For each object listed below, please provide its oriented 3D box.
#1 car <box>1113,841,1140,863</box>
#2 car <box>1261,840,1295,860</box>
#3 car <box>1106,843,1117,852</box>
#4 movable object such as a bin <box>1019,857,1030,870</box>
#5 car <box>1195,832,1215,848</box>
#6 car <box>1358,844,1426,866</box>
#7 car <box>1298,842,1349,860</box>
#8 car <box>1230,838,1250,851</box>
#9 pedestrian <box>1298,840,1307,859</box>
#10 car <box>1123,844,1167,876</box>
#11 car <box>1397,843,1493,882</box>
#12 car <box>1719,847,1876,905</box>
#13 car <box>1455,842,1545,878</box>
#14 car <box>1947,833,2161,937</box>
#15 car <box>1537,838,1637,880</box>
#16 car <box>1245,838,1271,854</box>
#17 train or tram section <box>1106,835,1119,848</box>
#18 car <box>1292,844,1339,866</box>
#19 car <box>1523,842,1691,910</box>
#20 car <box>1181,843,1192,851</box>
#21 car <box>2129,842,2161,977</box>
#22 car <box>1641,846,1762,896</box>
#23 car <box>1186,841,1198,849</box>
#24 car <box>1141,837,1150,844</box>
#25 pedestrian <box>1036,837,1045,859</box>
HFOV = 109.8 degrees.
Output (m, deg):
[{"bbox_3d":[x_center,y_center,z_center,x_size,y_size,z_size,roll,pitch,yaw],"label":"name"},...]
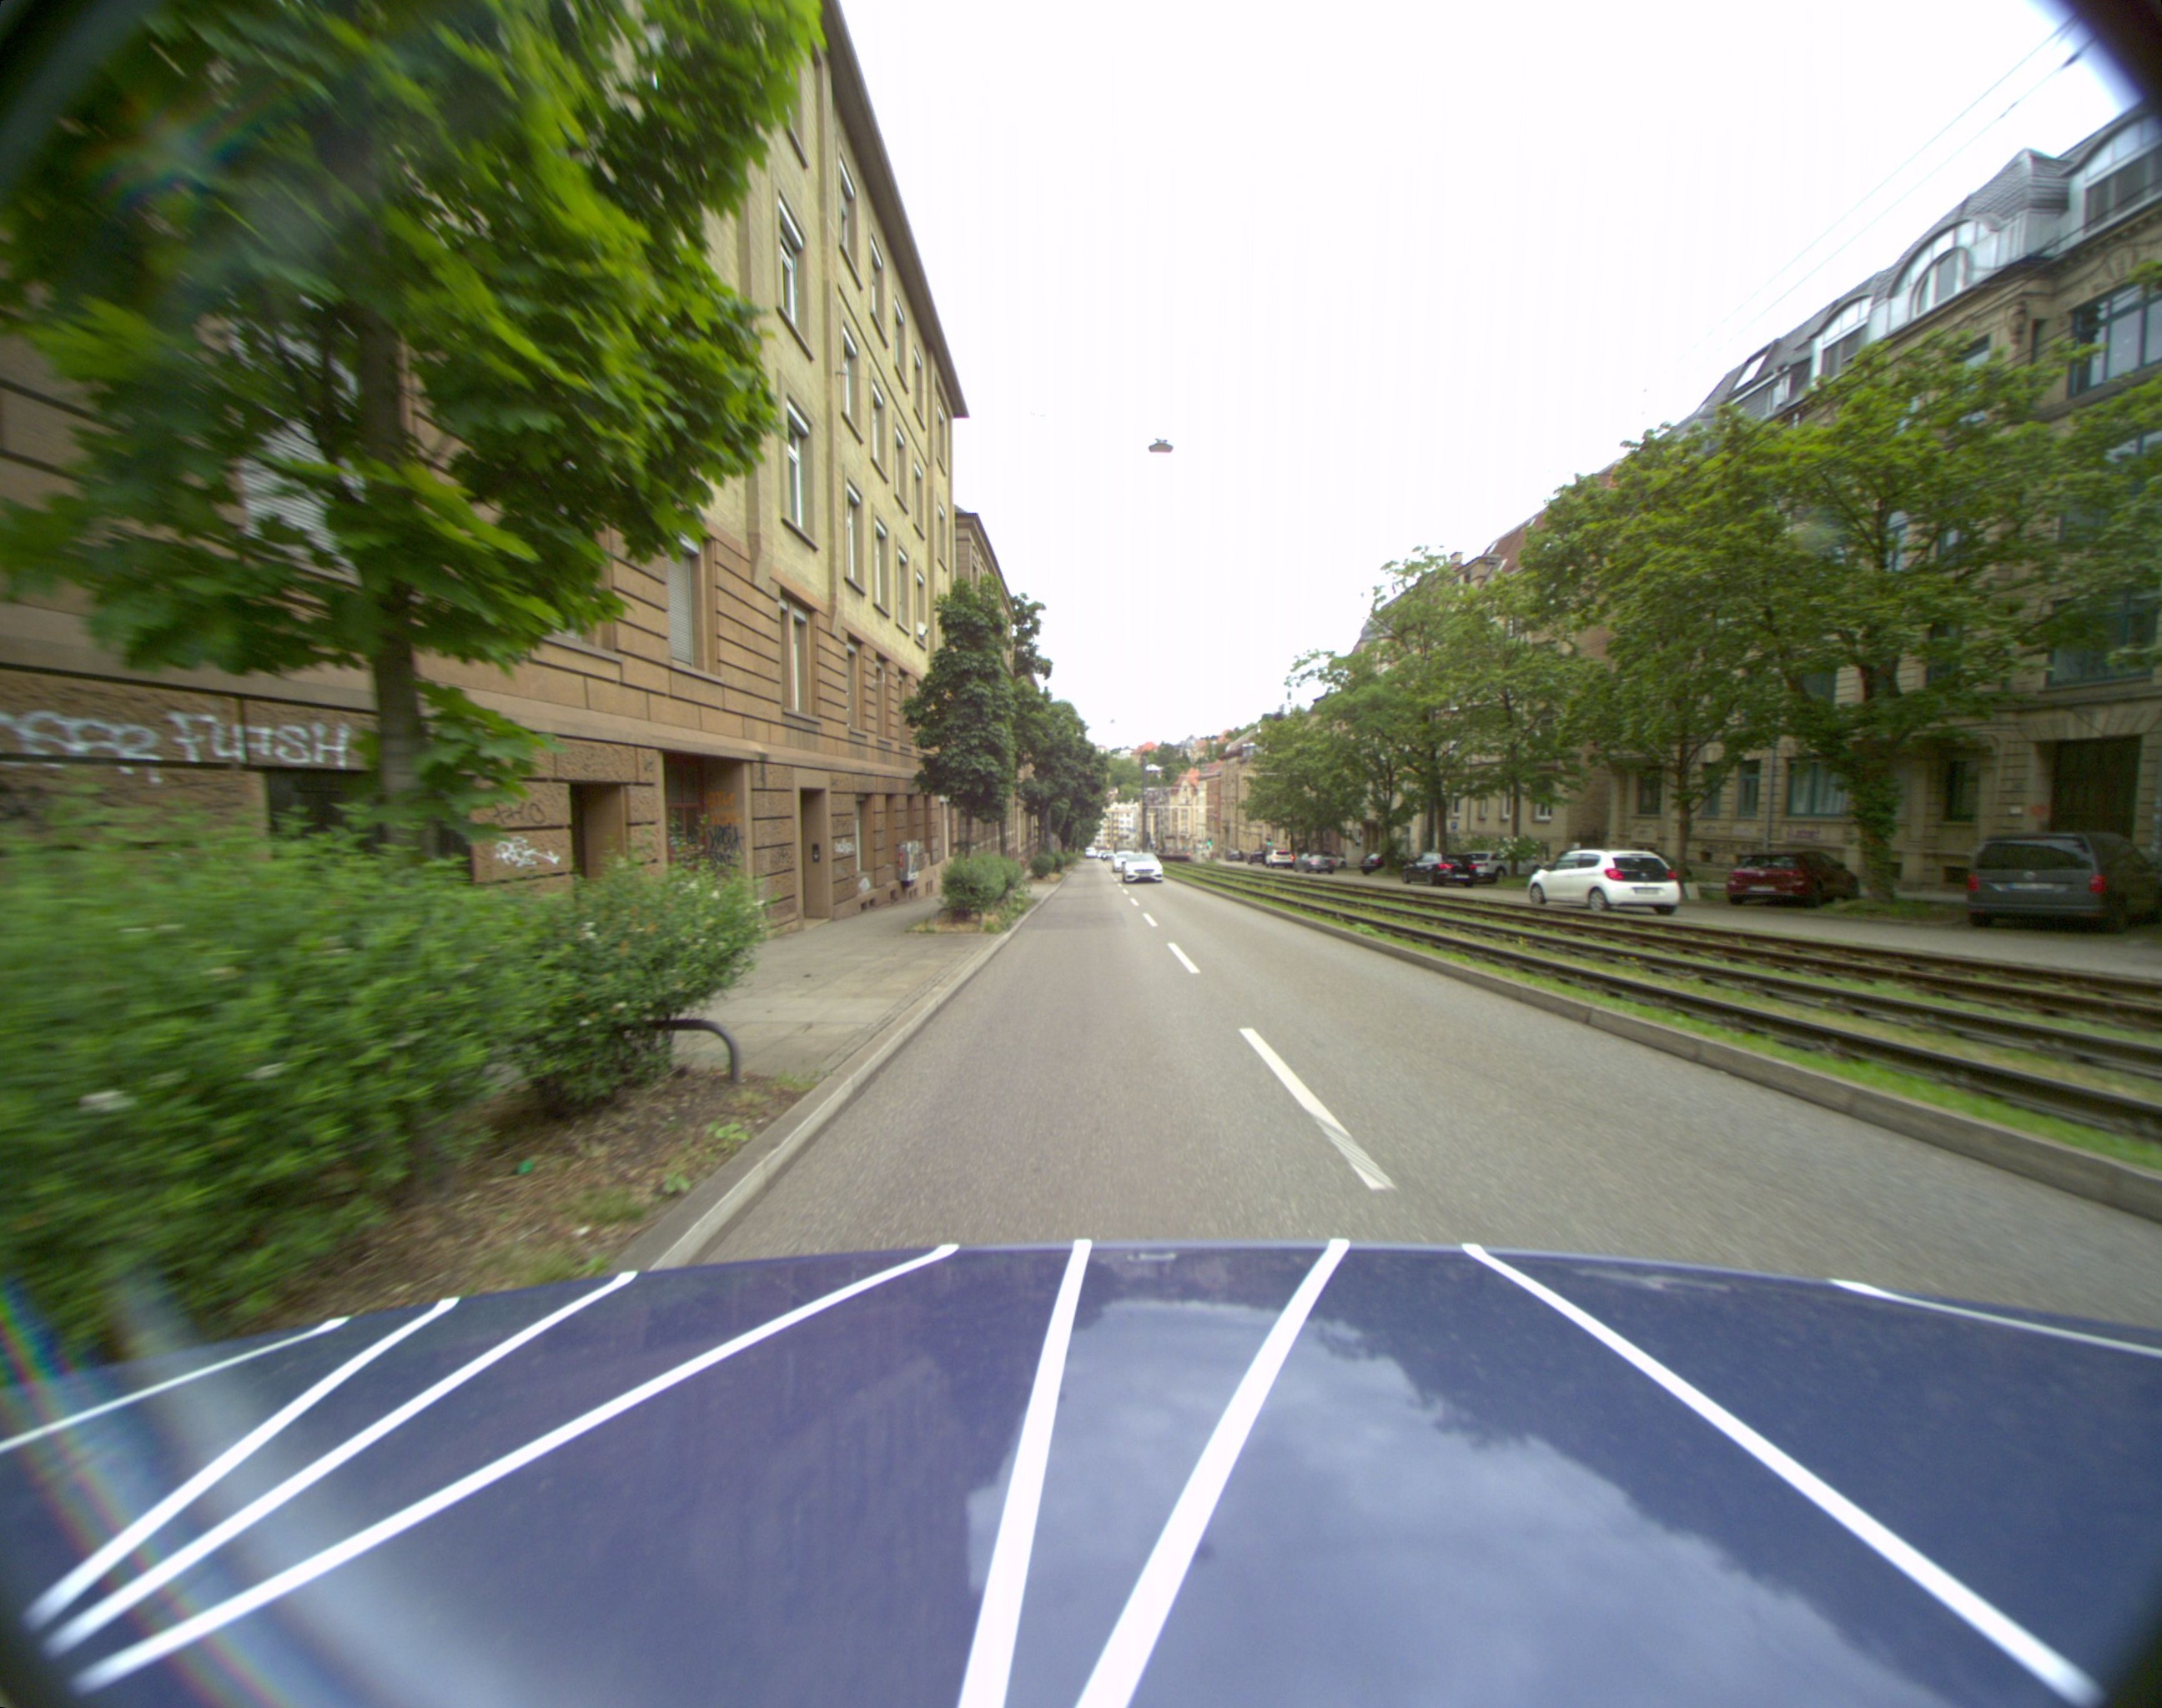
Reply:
[{"bbox_3d":[3.272,-0.153,55.367,1.806,1.542,4.000,-1,0,1],"label":"car"},{"bbox_3d":[16.564,-0.319,64.153,1.784,1.607,4.345,1,1,1],"label":"car"},{"bbox_3d":[4.412,-0.944,111.308,1.562,1.330,4.000,0,0,1],"label":"car"},{"bbox_3d":[-3.846,0.662,51.929,0.672,0.892,0.582,1,-1,-1],"label":"movable object such as a bin"},{"bbox_3d":[21.519,-2.457,132.155,2.398,2.684,6.518,1,1,2],"label":"car"},{"bbox_3d":[19.737,0.043,48.201,4.190,1.357,1.708,-1,1,-29],"label":"car"},{"bbox_3d":[19.771,-0.230,61.962,4.006,1.414,1.781,-1,1,-30],"label":"car"},{"bbox_3d":[20.938,-1.203,100.297,1.884,1.640,4.471,1,1,4],"label":"car"},{"bbox_3d":[23.471,-0.428,80.419,0.722,2.002,0.797,-1,0,-1],"label":"pedestrian"},{"bbox_3d":[3.073,0.278,36.968,1.806,1.391,4.000,-1,0,0],"label":"car"},{"bbox_3d":[15.154,0.308,31.941,1.870,1.427,4.493,2,1,0],"label":"car"},{"bbox_3d":[19.399,0.523,20.555,4.198,1.427,1.867,-1,1,-29],"label":"car"},{"bbox_3d":[19.182,0.217,34.754,4.161,1.461,1.781,-2,3,-31],"label":"car"},{"bbox_3d":[18.872,0.501,14.717,4.198,1.757,1.867,-1,1,-29],"label":"car"},{"bbox_3d":[20.064,0.157,30.084,4.199,1.564,1.866,-1,1,-35],"label":"car"},{"bbox_3d":[18.898,-0.866,81.331,1.784,1.647,4.242,1,1,1],"label":"car"},{"bbox_3d":[8.655,-3.331,211.208,2.968,3.456,14.407,0,0,-1],"label":"train or tram section"},{"bbox_3d":[15.641,0.042,50.894,1.729,1.402,4.597,1,1,1],"label":"car"},{"bbox_3d":[12.260,0.455,17.976,1.592,1.427,3.412,1,1,0],"label":"car"},{"bbox_3d":[22.656,-1.410,163.514,1.884,1.640,4.471,1,1,3],"label":"car"},{"bbox_3d":[14.109,0.716,7.211,1.922,1.640,4.607,1,1,0],"label":"car"},{"bbox_3d":[19.553,0.460,23.898,4.199,1.427,1.866,-1,1,-35],"label":"car"},{"bbox_3d":[21.504,-1.729,147.470,1.752,1.420,4.749,1,0,3],"label":"car"},{"bbox_3d":[21.672,-4.599,255.447,1.999,2.291,5.453,0,0,-3],"label":"car"},{"bbox_3d":[-3.556,-0.550,66.380,0.687,1.820,1.121,1,3,1],"label":"pedestrian"}]
